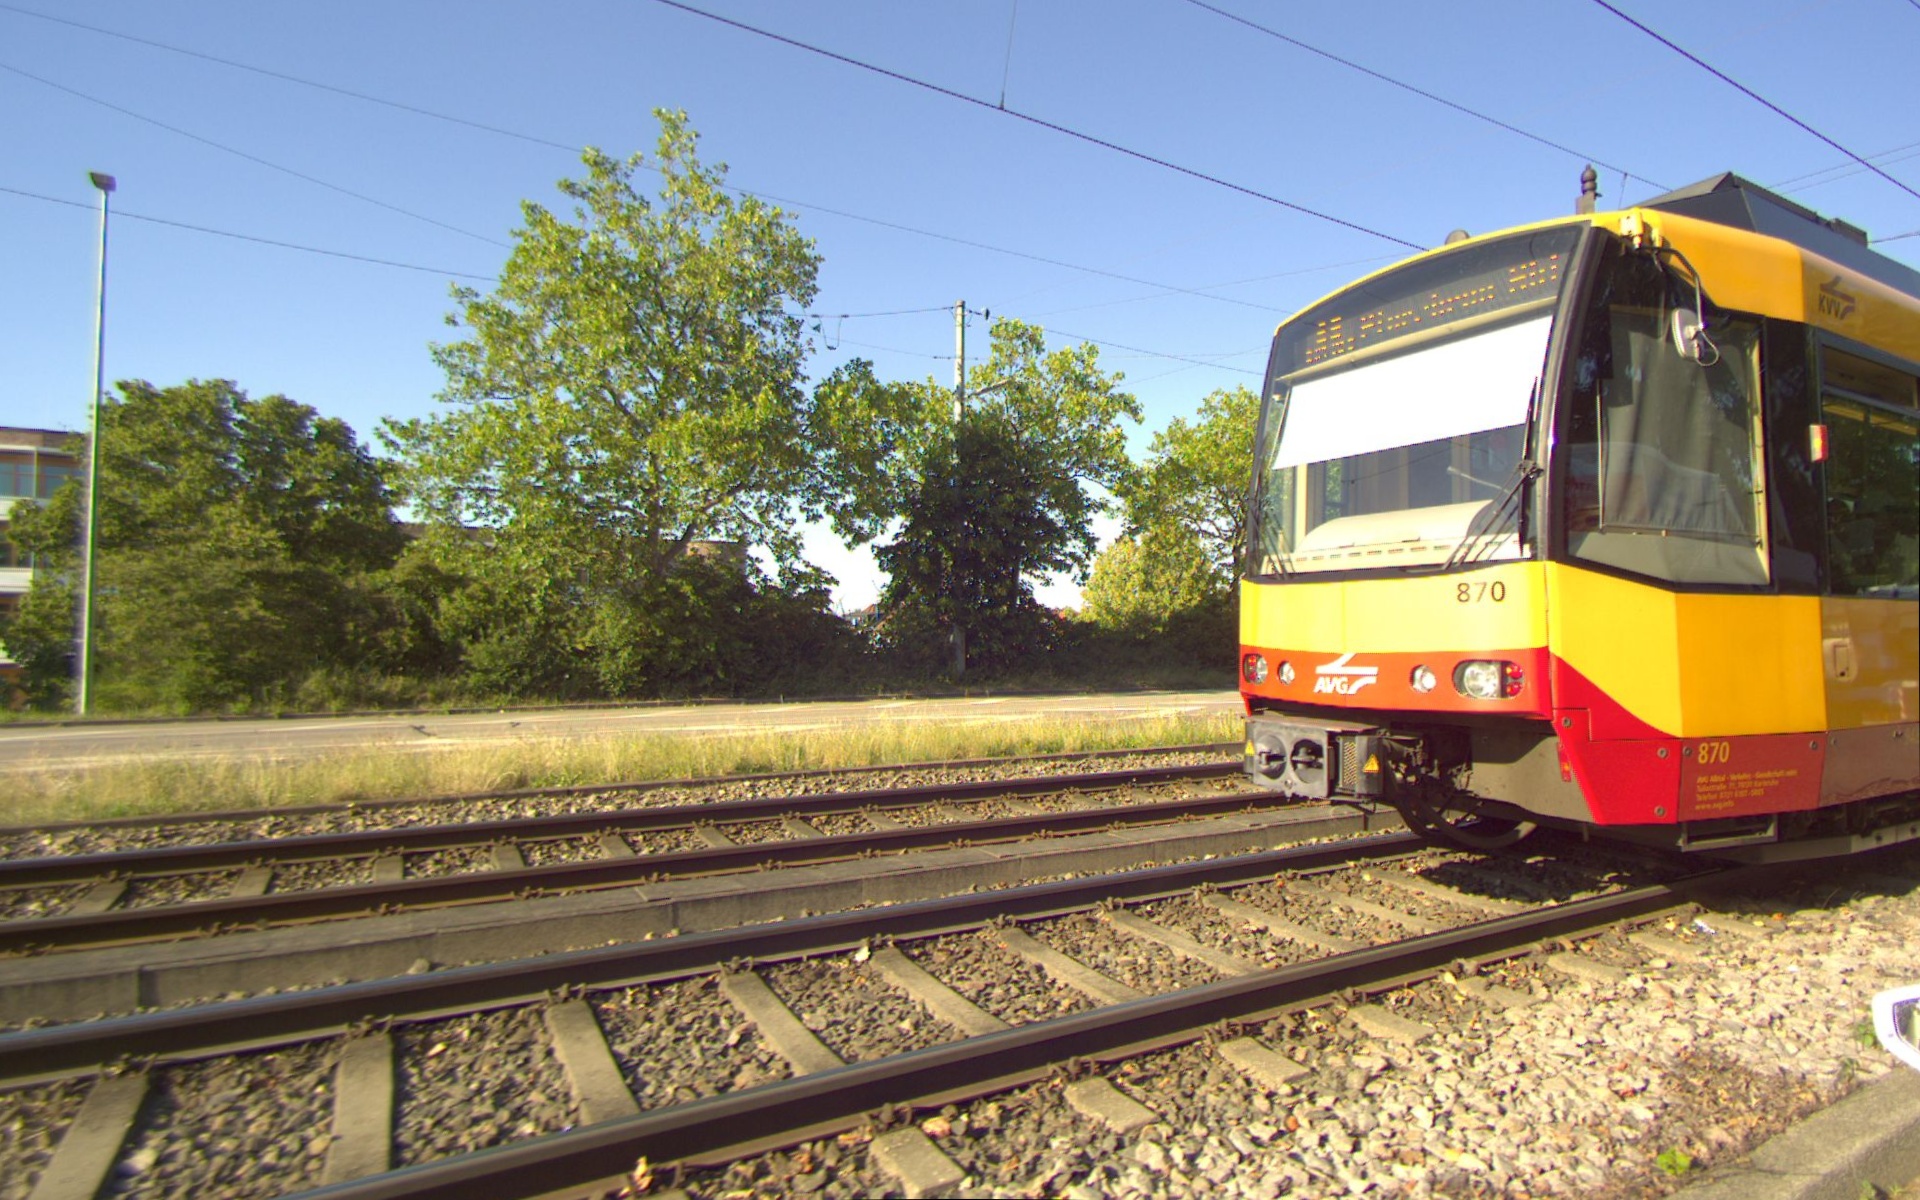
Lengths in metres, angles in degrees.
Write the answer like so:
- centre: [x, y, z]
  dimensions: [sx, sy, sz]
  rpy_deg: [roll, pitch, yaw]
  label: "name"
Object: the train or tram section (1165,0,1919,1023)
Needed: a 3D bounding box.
- centre: [7.763, -0.259, 8.458]
  dimensions: [13.453, 4.145, 2.709]
  rpy_deg: [1, -2, -30]
  label: "train or tram section"
